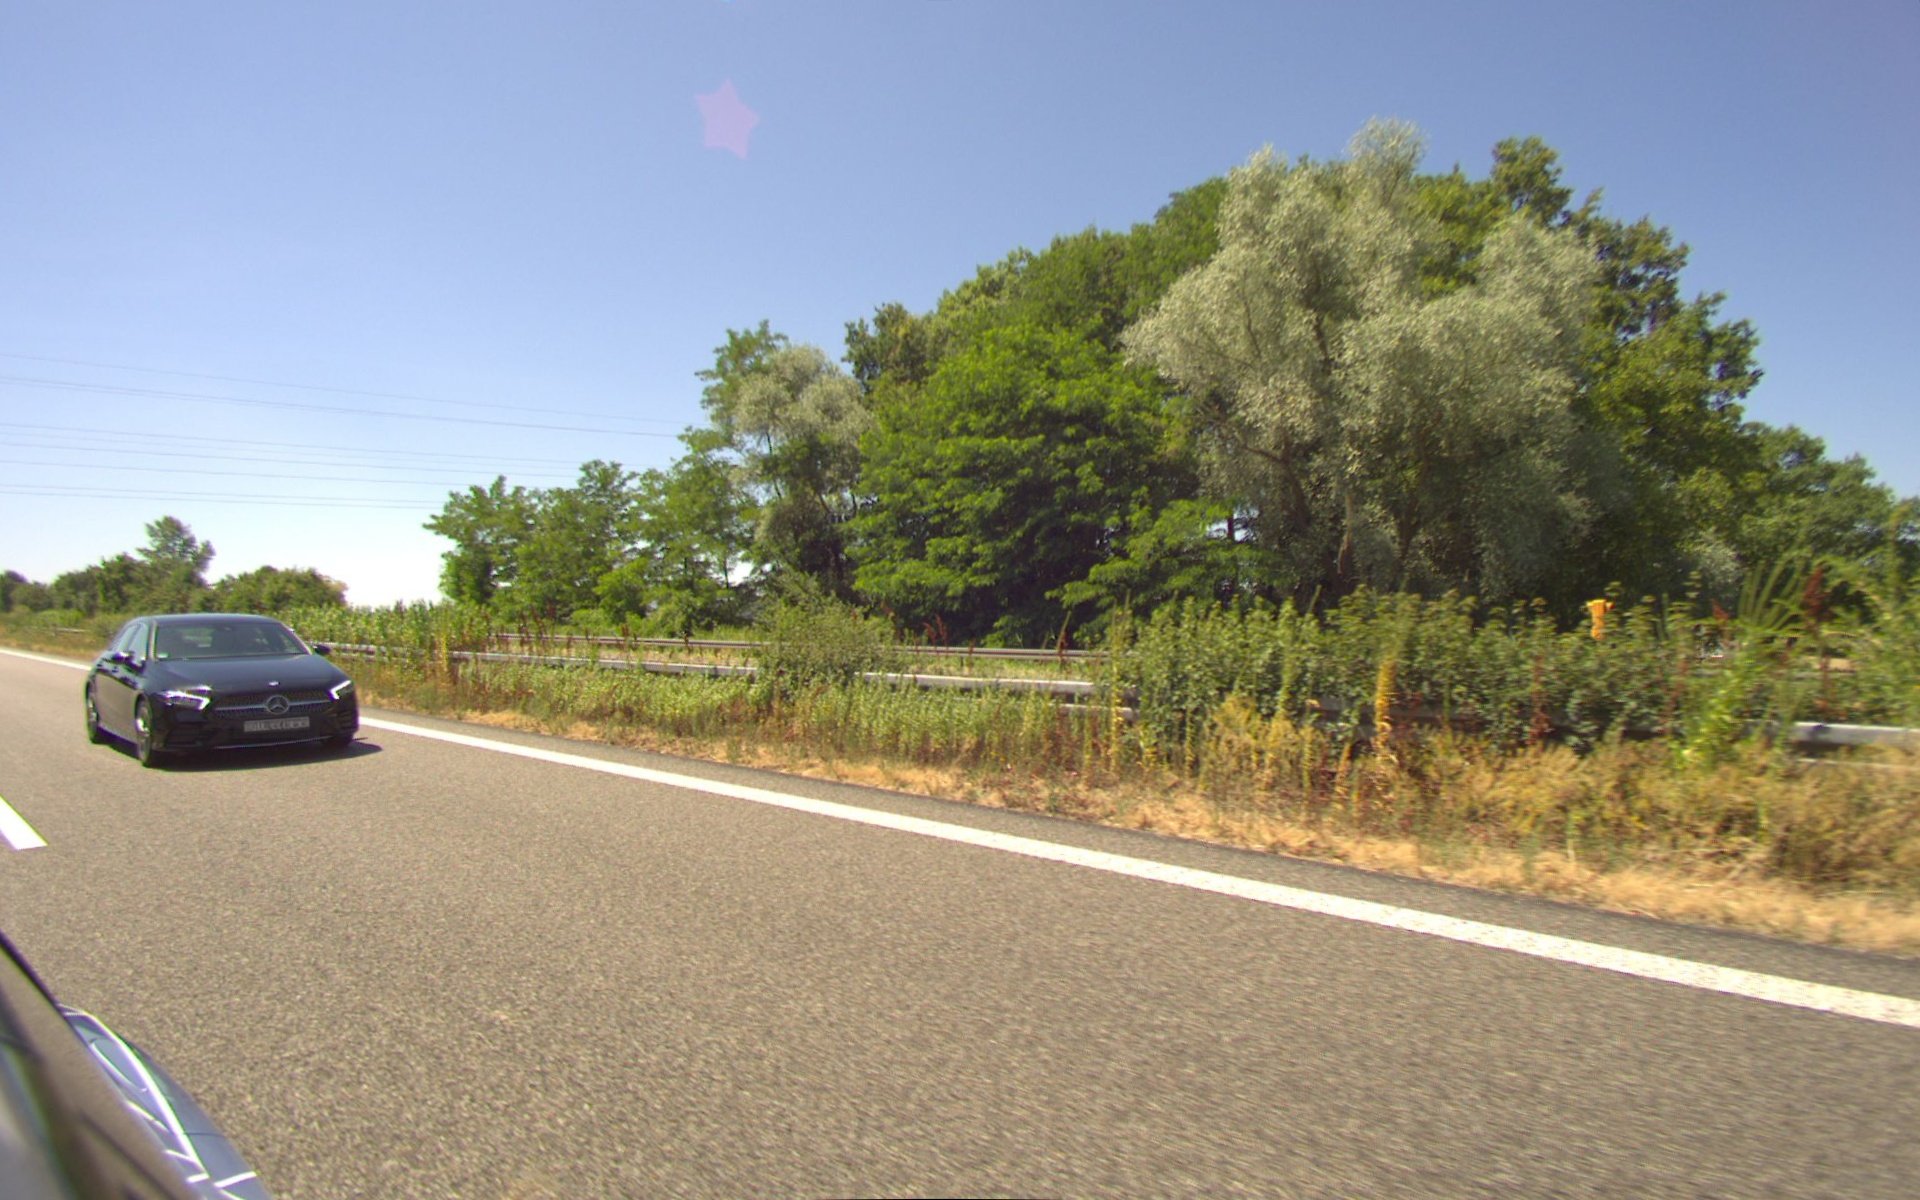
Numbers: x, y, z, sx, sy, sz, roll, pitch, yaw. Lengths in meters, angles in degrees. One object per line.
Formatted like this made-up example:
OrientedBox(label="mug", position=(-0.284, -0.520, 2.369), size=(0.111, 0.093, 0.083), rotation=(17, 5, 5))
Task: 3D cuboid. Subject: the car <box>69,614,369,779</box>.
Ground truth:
OrientedBox(label="car", position=(-8.081, 0.890, 10.897), size=(4.050, 1.422, 1.773), rotation=(-1, -1, 41))
